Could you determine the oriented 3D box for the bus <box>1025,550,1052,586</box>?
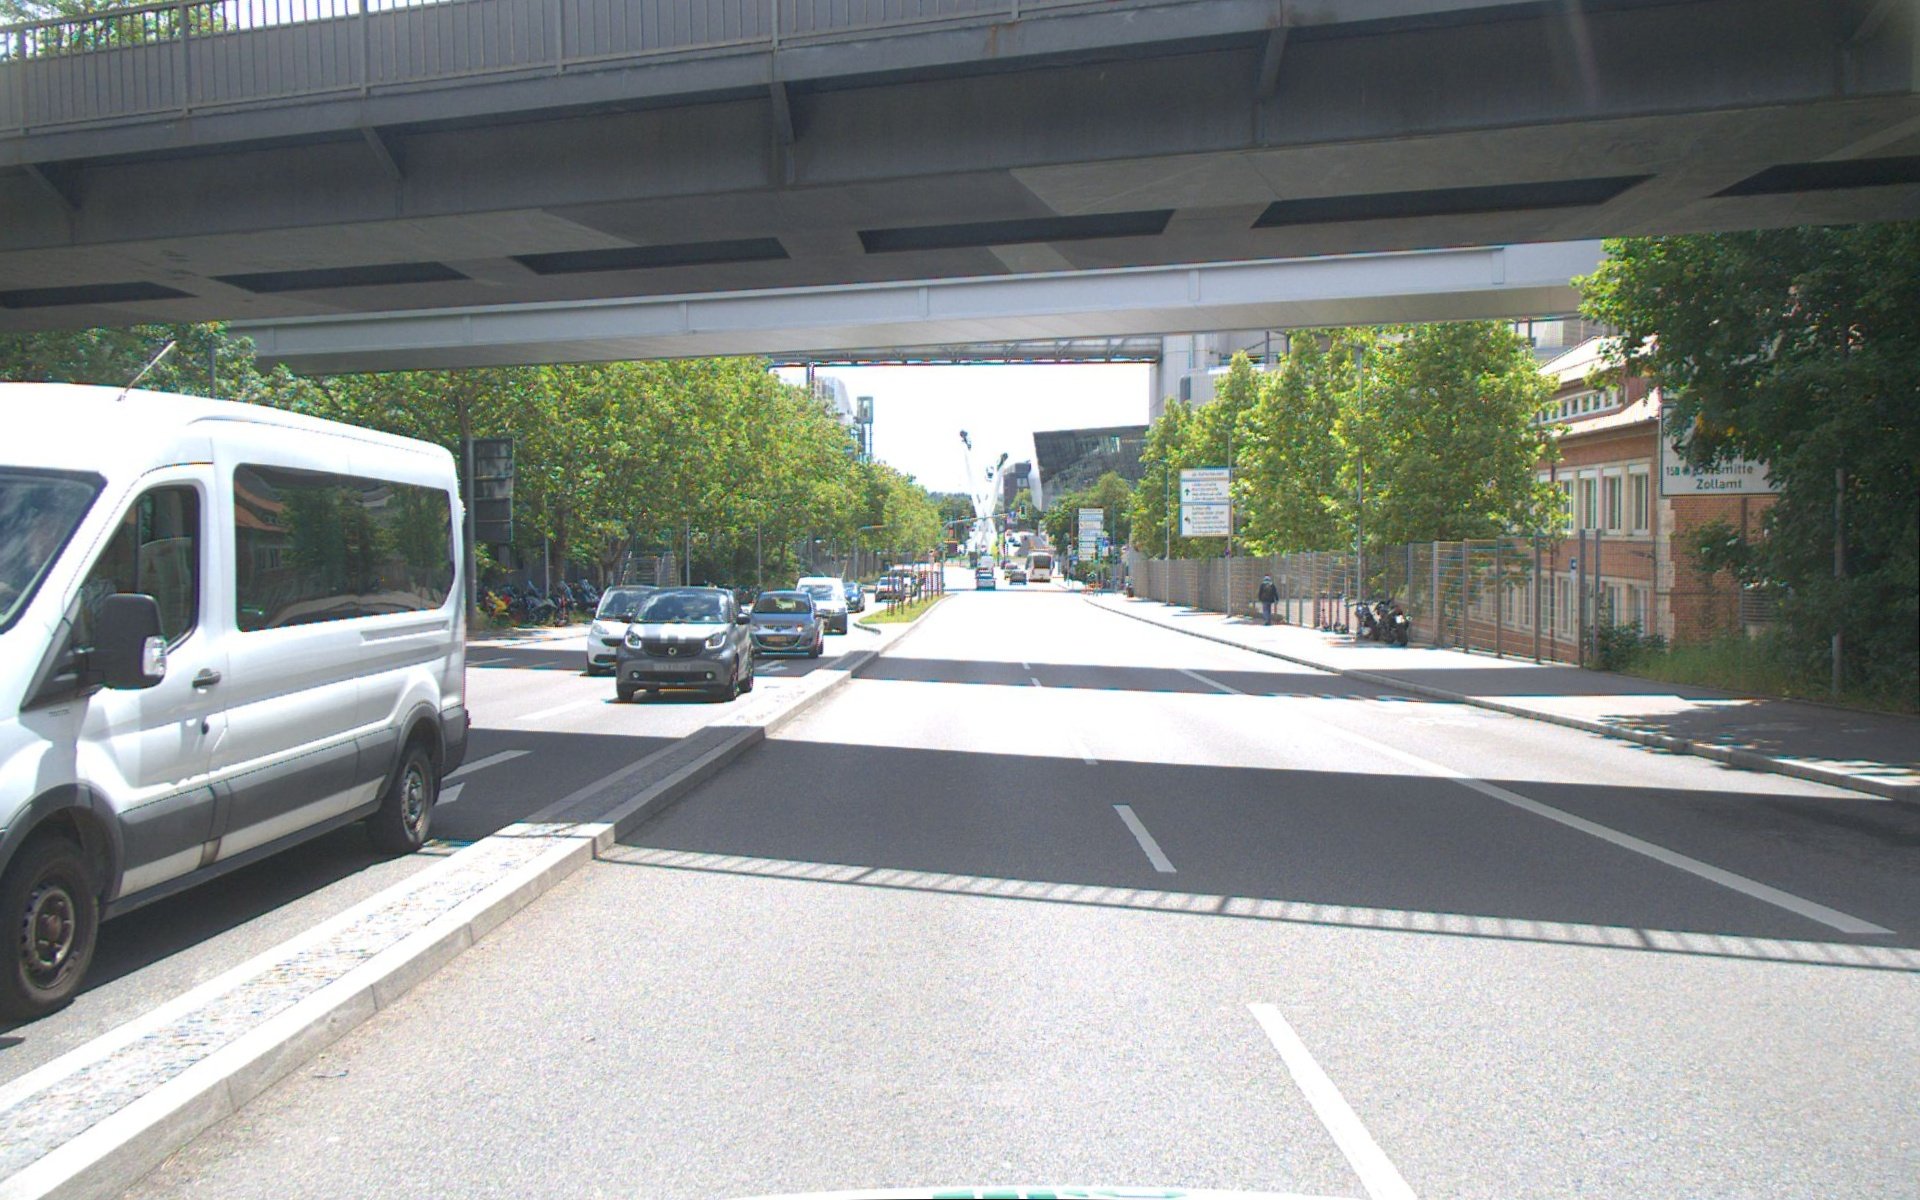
[{"bbox_3d":[9.398,-3.891,199.088,2.739,3.816,9.473,0,4,0],"label":"bus"}]

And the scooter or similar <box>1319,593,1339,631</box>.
[{"bbox_3d":[11.697,0.370,52.448,0.361,1.197,1.133,0,0,-1],"label":"scooter or similar"}]

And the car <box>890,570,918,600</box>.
[{"bbox_3d":[-4.309,-1.169,127.691,1.952,2.295,4.326,0,0,1],"label":"car"}]

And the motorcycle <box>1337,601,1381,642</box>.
[{"bbox_3d":[11.066,0.594,45.982,0.552,1.047,2.629,-2,1,0],"label":"motorcycle"}]

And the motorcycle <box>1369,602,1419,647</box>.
[{"bbox_3d":[11.171,0.609,42.665,0.552,1.047,2.629,-2,1,0],"label":"motorcycle"}]

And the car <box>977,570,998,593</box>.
[{"bbox_3d":[2.502,-1.700,150.330,1.890,1.802,4.003,0,4,0],"label":"car"}]

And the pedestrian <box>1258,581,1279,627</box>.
[{"bbox_3d":[11.369,0.135,60.927,0.608,1.646,0.747,0,4,-1],"label":"pedestrian"}]

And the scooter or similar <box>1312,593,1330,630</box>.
[{"bbox_3d":[11.818,0.382,54.157,0.361,1.197,1.133,0,0,-1],"label":"scooter or similar"}]

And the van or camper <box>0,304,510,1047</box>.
[{"bbox_3d":[-4.088,0.243,7.944,1.966,2.443,6.399,0,0,1],"label":"van or camper"}]

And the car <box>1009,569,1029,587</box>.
[{"bbox_3d":[6.474,-2.381,181.214,1.953,1.892,4.000,0,0,-1],"label":"car"}]

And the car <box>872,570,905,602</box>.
[{"bbox_3d":[-4.737,-0.945,110.090,1.952,2.049,4.000,0,0,0],"label":"car"}]

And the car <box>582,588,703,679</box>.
[{"bbox_3d":[-5.838,0.578,30.764,1.667,1.578,3.922,0,0,-3],"label":"car"}]

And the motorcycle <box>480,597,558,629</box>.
[{"bbox_3d":[-15.071,0.447,56.524,2.497,1.069,0.675,0,0,6],"label":"motorcycle"}]

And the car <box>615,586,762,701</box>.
[{"bbox_3d":[-3.857,0.587,23.895,1.666,1.548,3.073,0,0,-1],"label":"car"}]

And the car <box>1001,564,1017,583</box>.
[{"bbox_3d":[6.086,-3.299,205.221,1.952,2.048,4.002,0,4,0],"label":"car"}]

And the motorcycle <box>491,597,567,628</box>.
[{"bbox_3d":[-15.089,0.446,57.939,2.497,1.069,0.675,0,0,6],"label":"motorcycle"}]

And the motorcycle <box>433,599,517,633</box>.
[{"bbox_3d":[-15.524,0.507,52.940,2.497,1.069,0.675,0,0,6],"label":"motorcycle"}]

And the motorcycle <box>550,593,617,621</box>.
[{"bbox_3d":[-15.040,0.279,66.137,2.522,1.126,0.795,0,0,12],"label":"motorcycle"}]

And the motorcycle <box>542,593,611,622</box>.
[{"bbox_3d":[-14.936,0.301,64.376,2.522,1.126,0.795,0,0,12],"label":"motorcycle"}]

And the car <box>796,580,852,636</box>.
[{"bbox_3d":[-4.332,0.246,53.118,1.667,1.728,3.922,0,0,-3],"label":"car"}]

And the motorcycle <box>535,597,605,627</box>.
[{"bbox_3d":[-14.822,0.440,62.863,2.522,1.126,0.795,0,0,12],"label":"motorcycle"}]

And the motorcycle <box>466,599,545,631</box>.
[{"bbox_3d":[-15.204,0.490,55.340,2.497,1.069,0.675,0,0,6],"label":"motorcycle"}]

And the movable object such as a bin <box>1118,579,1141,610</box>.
[{"bbox_3d":[11.936,-0.393,116.543,1.629,2.170,1.279,0,0,5],"label":"movable object such as a bin"}]

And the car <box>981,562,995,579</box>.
[{"bbox_3d":[3.843,-4.012,226.183,1.835,2.048,3.694,0,4,-1],"label":"car"}]

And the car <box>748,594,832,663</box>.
[{"bbox_3d":[-3.765,0.590,37.129,1.667,1.461,3.922,0,0,-3],"label":"car"}]

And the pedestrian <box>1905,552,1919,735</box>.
[{"bbox_3d":[10.251,0.445,16.930,0.610,1.891,0.872,0,-1,-2],"label":"pedestrian"}]

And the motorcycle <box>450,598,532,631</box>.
[{"bbox_3d":[-15.357,0.480,54.159,2.497,1.069,0.675,0,0,6],"label":"motorcycle"}]

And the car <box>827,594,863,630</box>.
[{"bbox_3d":[-5.631,0.576,81.171,1.667,1.728,3.922,0,0,-3],"label":"car"}]
